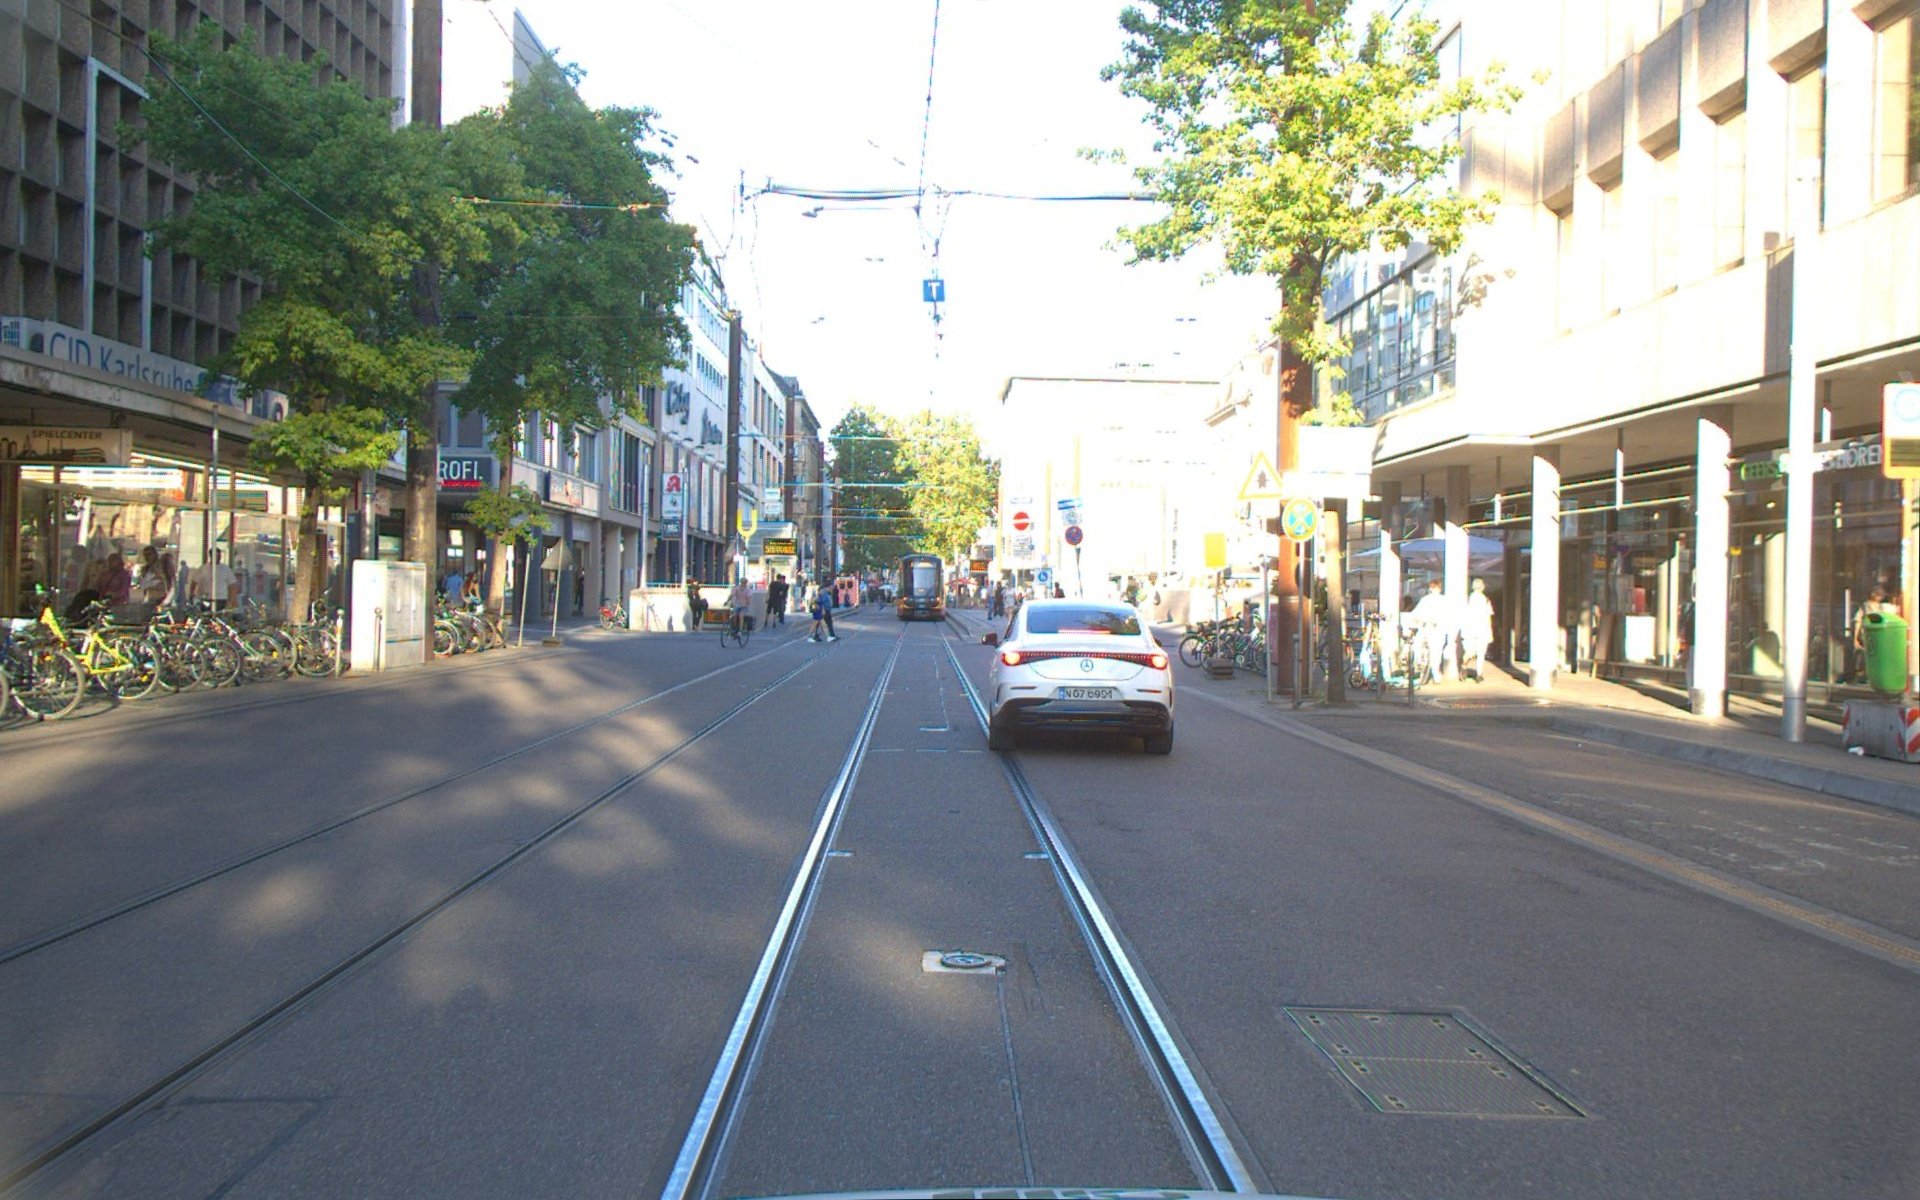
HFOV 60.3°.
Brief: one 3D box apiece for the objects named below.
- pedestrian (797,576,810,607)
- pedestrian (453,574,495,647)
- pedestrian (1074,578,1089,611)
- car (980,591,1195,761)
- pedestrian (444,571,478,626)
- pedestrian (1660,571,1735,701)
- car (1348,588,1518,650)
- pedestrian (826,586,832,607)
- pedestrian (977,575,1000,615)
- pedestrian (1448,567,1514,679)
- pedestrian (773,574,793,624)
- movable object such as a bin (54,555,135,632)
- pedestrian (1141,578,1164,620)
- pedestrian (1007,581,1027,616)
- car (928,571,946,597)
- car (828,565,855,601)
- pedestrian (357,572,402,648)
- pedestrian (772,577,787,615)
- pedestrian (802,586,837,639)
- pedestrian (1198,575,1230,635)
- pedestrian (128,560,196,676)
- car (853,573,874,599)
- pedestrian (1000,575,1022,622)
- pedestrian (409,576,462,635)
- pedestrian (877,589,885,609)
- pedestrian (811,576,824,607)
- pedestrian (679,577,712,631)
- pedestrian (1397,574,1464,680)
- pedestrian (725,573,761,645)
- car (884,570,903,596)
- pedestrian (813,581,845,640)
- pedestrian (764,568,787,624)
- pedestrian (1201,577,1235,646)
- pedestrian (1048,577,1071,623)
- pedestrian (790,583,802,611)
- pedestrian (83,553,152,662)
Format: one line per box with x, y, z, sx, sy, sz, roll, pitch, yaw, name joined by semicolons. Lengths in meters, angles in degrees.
-8.323;-0.450;88.107;0.647;1.627;0.573;0;0;-3;pedestrian
-11.297;0.236;38.465;0.734;1.651;0.980;0;0;-4;pedestrian
6.745;-0.300;91.847;0.712;1.816;0.707;1;0;-2;pedestrian
1.189;0.686;17.160;1.819;1.480;4.174;2;0;-1;car
-15.743;-0.047;52.201;0.806;1.736;0.980;0;0;-3;pedestrian
9.740;0.462;21.874;0.624;1.682;0.781;1;0;0;pedestrian
11.727;0.467;41.096;3.729;1.499;1.647;0;0;-7;car
-10.088;-0.272;127.622;0.405;1.658;0.606;0;0;-1;pedestrian
1.282;-0.229;74.824;0.941;1.816;0.803;-1;0;-2;pedestrian
8.873;0.385;28.190;0.687;1.844;1.033;-3;0;-2;pedestrian
-6.423;-0.036;60.040;0.538;1.791;0.520;1;0;27;pedestrian
-12.252;-0.091;23.438;0.700;1.057;0.980;0;0;-7;movable object such as a bin
7.982;-0.044;68.552;0.801;1.714;0.803;-1;0;-2;pedestrian
3.055;-0.092;88.732;0.941;1.816;0.803;-1;0;-2;pedestrian
-2.693;-1.893;193.696;2.056;2.948;5.284;0;0;-1;car
-10.172;-1.455;142.347;1.953;2.948;5.274;0;0;-1;car
-13.791;0.228;39.298;0.800;1.792;0.779;0;0;-4;pedestrian
-7.368;-0.162;67.545;0.603;1.572;0.650;0;0;-4;pedestrian
-4.090;0.355;48.349;0.936;1.522;0.944;0;0;-1;pedestrian
7.760;0.153;50.563;0.824;1.816;0.803;-1;0;-2;pedestrian
-11.631;0.257;24.120;0.700;1.668;0.683;0;0;-7;pedestrian
-9.388;-1.337;161.139;1.871;2.504;5.274;0;0;-1;car
1.893;-0.066;61.678;0.731;1.728;0.840;0;0;-4;pedestrian
-14.352;0.146;45.237;0.961;1.589;1.010;1;0;37;pedestrian
-6.410;-0.069;134.139;0.592;1.658;0.531;0;0;-1;pedestrian
-7.621;-0.438;88.205;0.647;1.627;0.573;0;0;-3;pedestrian
-8.705;0.128;54.389;0.829;1.747;0.777;0;0;-30;pedestrian
8.103;0.458;28.513;0.881;1.775;0.689;-3;0;-2;pedestrian
-5.608;0.236;42.816;0.784;1.813;0.848;2;0;-3;pedestrian
-7.777;-1.986;193.234;2.056;2.948;5.274;0;0;-1;car
-3.891;0.296;49.220;0.886;1.728;0.848;0;0;-1;pedestrian
-6.493;-0.129;58.177;0.531;1.962;0.569;1;0;42;pedestrian
6.868;0.304;44.090;0.733;1.816;0.766;-1;0;-2;pedestrian
3.748;-0.003;62.473;0.820;1.691;0.785;0;0;1;pedestrian
-9.690;-0.159;97.612;0.647;1.627;0.573;0;0;-3;pedestrian
-12.359;0.105;24.276;0.700;1.574;0.683;0;0;-7;pedestrian
